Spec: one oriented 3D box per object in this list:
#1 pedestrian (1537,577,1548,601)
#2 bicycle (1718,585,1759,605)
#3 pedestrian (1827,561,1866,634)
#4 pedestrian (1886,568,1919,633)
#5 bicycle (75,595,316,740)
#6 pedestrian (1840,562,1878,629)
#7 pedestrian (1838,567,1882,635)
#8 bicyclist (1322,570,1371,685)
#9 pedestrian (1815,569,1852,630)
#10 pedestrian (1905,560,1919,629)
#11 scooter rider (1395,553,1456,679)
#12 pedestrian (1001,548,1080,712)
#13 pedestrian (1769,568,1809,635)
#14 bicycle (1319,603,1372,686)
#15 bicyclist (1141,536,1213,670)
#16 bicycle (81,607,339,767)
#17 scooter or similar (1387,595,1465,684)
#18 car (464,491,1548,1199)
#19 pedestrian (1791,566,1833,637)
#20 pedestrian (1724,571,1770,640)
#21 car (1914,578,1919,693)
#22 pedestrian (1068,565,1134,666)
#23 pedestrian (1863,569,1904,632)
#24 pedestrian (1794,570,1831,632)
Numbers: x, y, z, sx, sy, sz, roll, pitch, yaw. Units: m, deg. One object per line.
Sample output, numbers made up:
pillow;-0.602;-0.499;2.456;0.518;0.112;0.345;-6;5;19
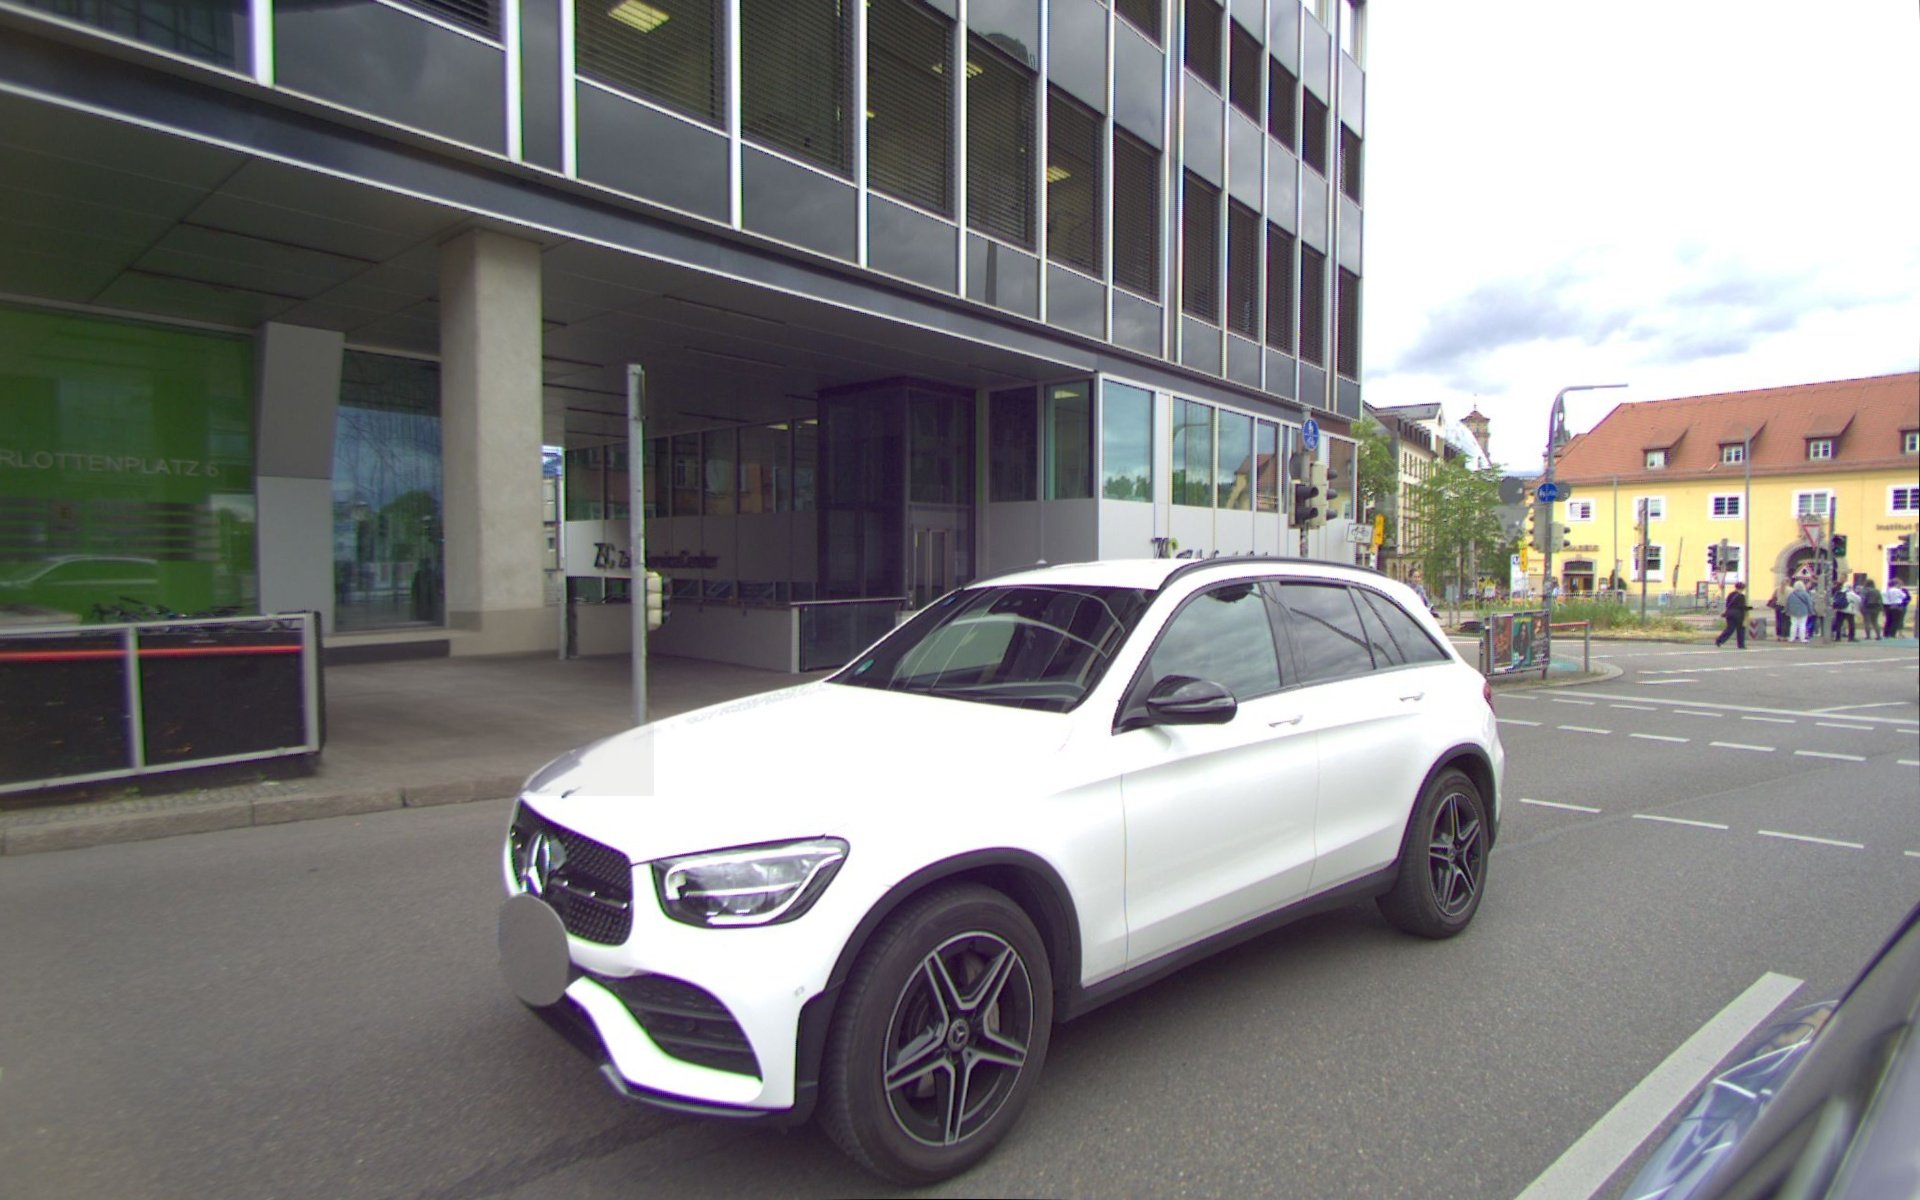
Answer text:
pedestrian;39.412;-0.730;68.464;0.485;1.610;0.551;1;1;15
bicycle;45.018;-0.323;58.562;0.609;1.099;1.773;0;2;-34
pedestrian;24.566;-0.073;28.048;0.604;1.989;0.638;1;1;22
pedestrian;26.825;0.010;28.709;0.604;1.819;0.638;1;1;22
bicycle;-6.374;0.510;8.524;0.707;1.061;1.474;1;2;25
pedestrian;26.408;-0.151;29.733;0.604;1.934;0.638;1;1;22
pedestrian;24.269;0.010;27.292;0.662;1.783;0.757;1;1;25
bicyclist;5.550;0.372;14.558;0.558;1.568;0.842;2;3;17
pedestrian;25.260;-0.023;29.287;0.604;1.717;0.638;1;1;22
pedestrian;27.805;-0.149;29.184;0.604;1.979;0.637;1;1;26
scooter rider;6.910;0.216;15.054;0.582;1.830;0.643;1;2;4
pedestrian;0.894;0.301;11.198;0.524;1.732;0.742;4;5;40
pedestrian;23.002;0.029;28.103;0.662;1.838;0.697;1;1;25
bicycle;5.580;0.613;14.715;0.573;1.039;1.661;2;3;17
bicyclist;3.122;0.036;14.616;0.661;1.869;0.815;0;1;-23
bicycle;-5.805;0.616;7.923;0.707;1.061;1.474;1;2;25
scooter or similar;6.902;0.565;15.050;0.582;1.190;1.323;1;3;4
car;0.513;0.540;4.106;4.256;1.666;1.807;-1;3;-39
pedestrian;22.971;0.033;27.297;0.662;1.885;0.697;1;1;25
pedestrian;19.963;0.130;25.686;0.794;1.718;0.543;2;2;28
car;15.719;0.488;14.233;4.556;1.588;1.875;-1;2;-26
pedestrian;2.135;0.206;15.296;0.604;1.460;0.826;3;3;41
pedestrian;25.516;0.010;27.972;0.604;1.717;0.638;1;1;22
pedestrian;24.061;0.020;28.565;0.604;1.717;0.638;1;1;22
